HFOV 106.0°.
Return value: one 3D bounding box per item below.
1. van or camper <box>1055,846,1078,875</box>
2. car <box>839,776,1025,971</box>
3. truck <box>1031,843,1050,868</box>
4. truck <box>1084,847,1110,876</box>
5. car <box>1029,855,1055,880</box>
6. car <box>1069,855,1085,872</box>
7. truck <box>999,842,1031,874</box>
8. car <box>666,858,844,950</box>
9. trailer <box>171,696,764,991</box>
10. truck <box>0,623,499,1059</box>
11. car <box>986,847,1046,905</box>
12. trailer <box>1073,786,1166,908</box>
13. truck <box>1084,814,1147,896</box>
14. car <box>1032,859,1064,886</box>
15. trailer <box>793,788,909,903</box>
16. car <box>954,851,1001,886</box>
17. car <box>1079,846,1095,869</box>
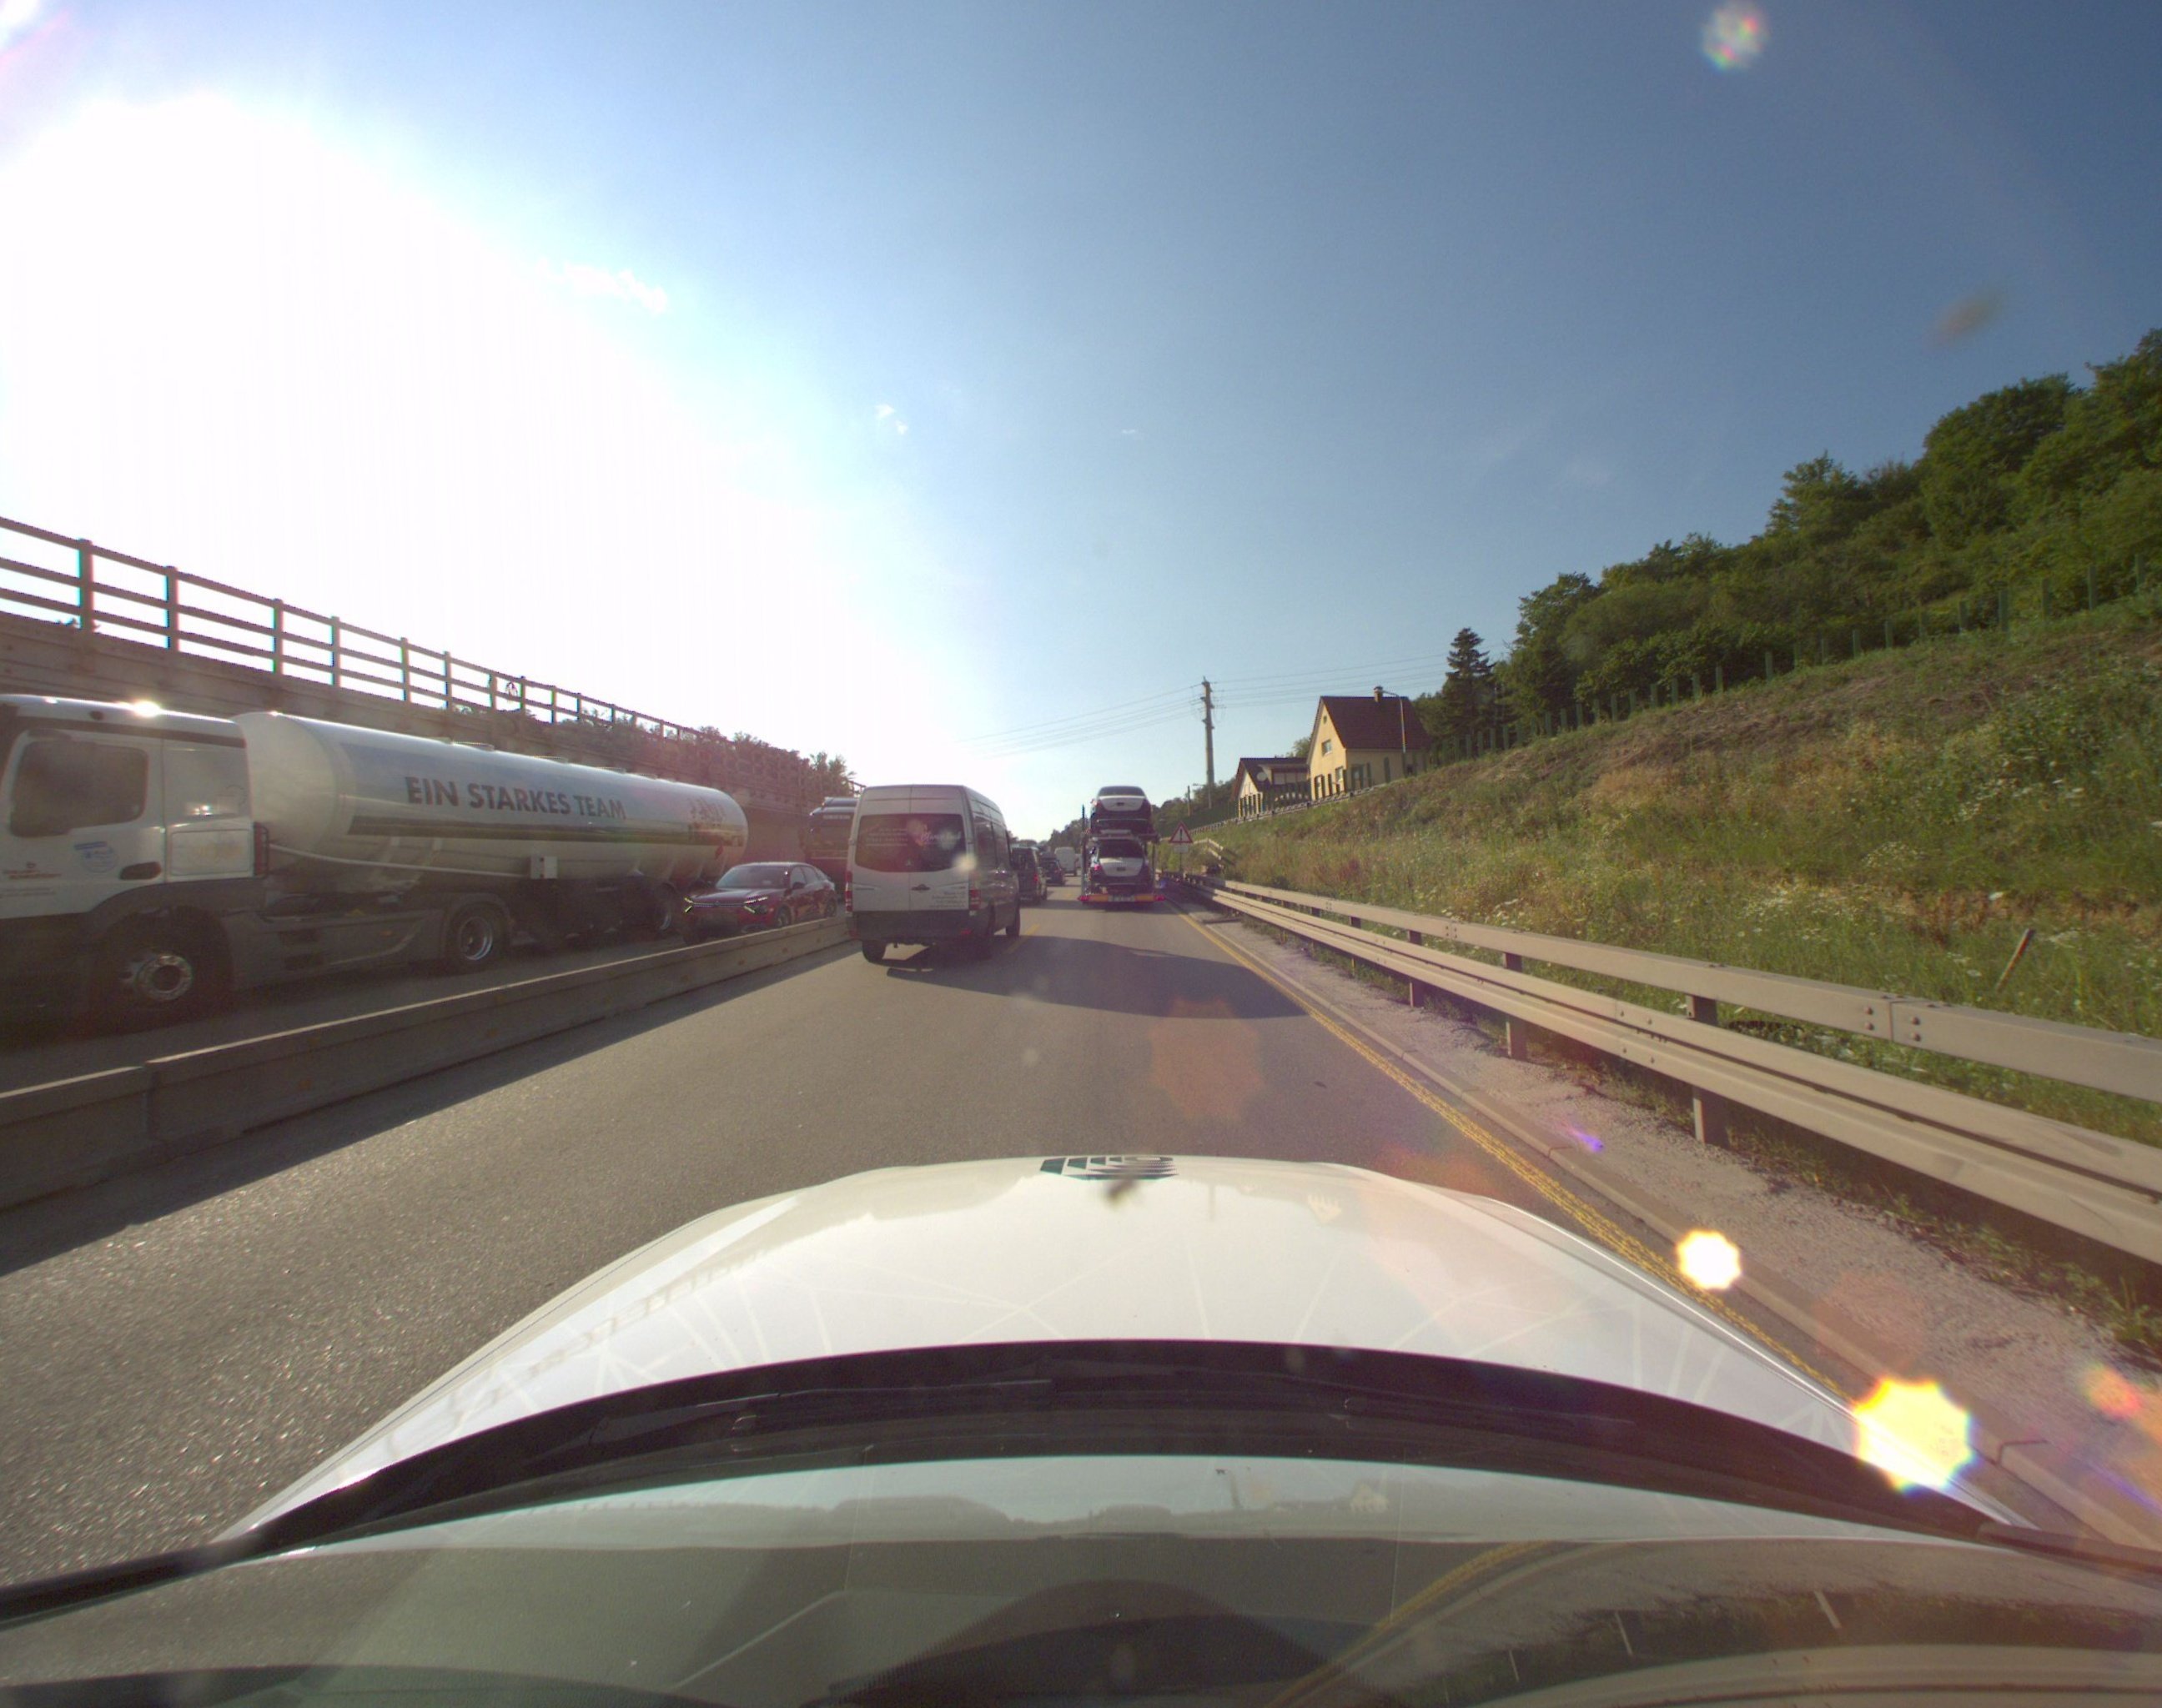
[{"bbox_3d":[-1.324,0.657,74.913,1.962,2.592,5.040,0,-1,0],"label":"van or camper"},{"bbox_3d":[-2.258,0.286,14.065,1.986,2.648,5.532,-2,0,2],"label":"car"},{"bbox_3d":[-7.236,0.236,145.661,2.616,4.112,9.625,-4,0,0],"label":"truck"},{"bbox_3d":[2.808,1.255,139.853,4.050,4.679,10.596,-1,-1,2],"label":"truck"},{"bbox_3d":[-4.080,1.395,85.639,2.463,2.534,4.000,-1,-1,1],"label":"car"},{"bbox_3d":[-0.478,1.205,104.394,1.879,2.100,3.766,-1,-1,1],"label":"car"},{"bbox_3d":[-7.525,0.495,94.227,2.706,3.424,8.140,-4,-1,1],"label":"truck"},{"bbox_3d":[-6.228,0.867,16.148,1.719,1.557,4.298,0,0,1],"label":"car"},{"bbox_3d":[-9.433,-0.020,15.106,2.547,3.527,10.685,0,-1,2],"label":"trailer"},{"bbox_3d":[-9.663,-0.044,8.867,2.539,3.409,5.532,0,-1,1],"label":"truck"},{"bbox_3d":[-2.234,0.772,29.044,1.802,1.904,3.999,0,-2,0],"label":"car"},{"bbox_3d":[1.360,-0.061,31.396,2.672,3.535,15.293,-1,-1,2],"label":"trailer"},{"bbox_3d":[1.605,0.093,38.921,2.672,3.535,7.196,-1,-1,2],"label":"truck"},{"bbox_3d":[-1.898,1.041,48.004,1.720,1.522,3.973,0,0,0],"label":"car"},{"bbox_3d":[-8.947,-0.320,32.438,2.755,4.141,5.978,0,0,1],"label":"trailer"},{"bbox_3d":[-5.021,0.722,40.099,1.635,1.645,4.689,0,-1,1],"label":"car"},{"bbox_3d":[1.306,0.849,190.440,3.435,5.035,9.646,-1,0,-2],"label":"car"}]
